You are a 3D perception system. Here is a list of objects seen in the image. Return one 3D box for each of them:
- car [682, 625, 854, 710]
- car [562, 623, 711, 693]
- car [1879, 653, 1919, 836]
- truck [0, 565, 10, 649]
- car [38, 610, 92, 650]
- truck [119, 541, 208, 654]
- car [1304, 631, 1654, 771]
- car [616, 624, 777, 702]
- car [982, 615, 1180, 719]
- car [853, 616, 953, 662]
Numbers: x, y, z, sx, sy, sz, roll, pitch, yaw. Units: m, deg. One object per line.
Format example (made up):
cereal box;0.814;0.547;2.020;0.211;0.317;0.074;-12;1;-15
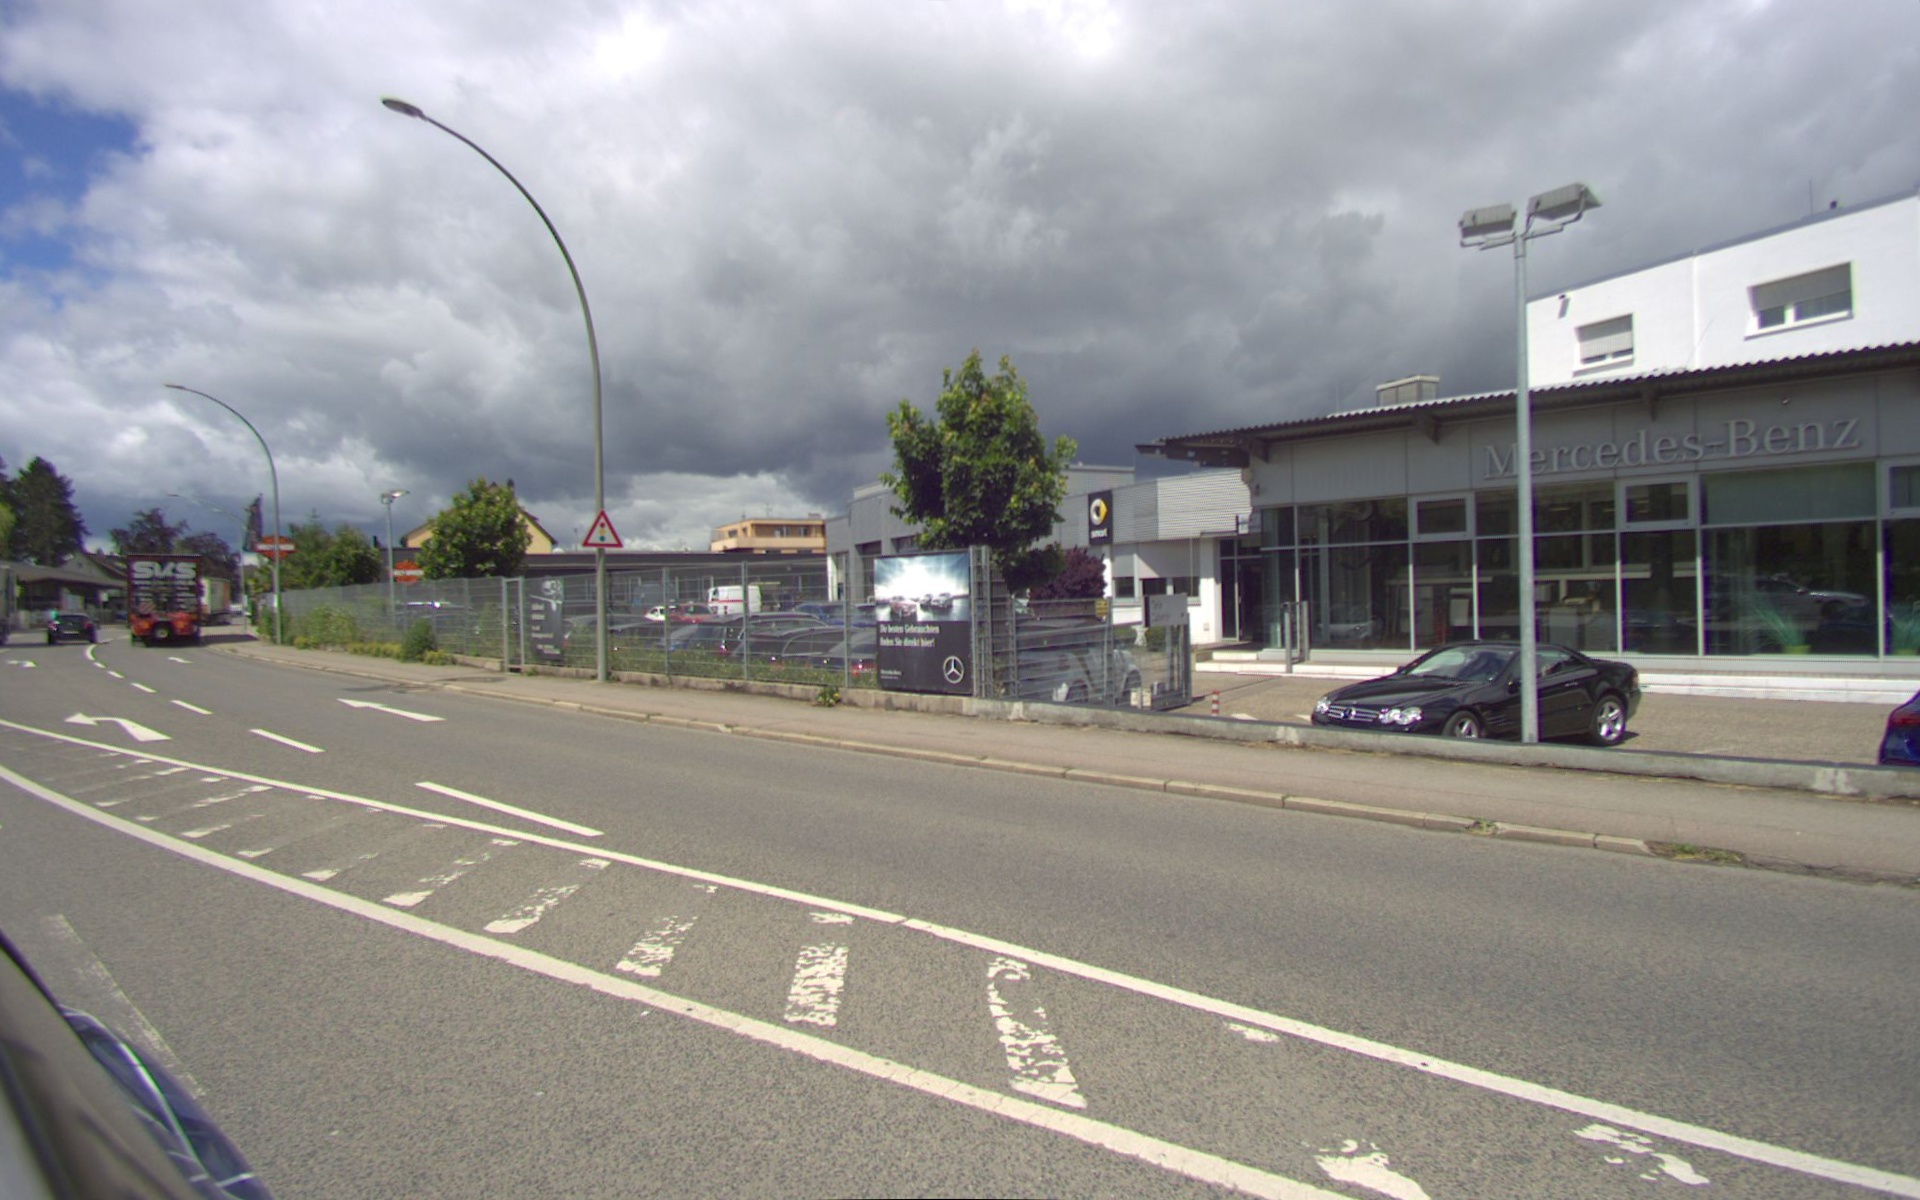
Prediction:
car;-3.977;1.342;21.204;1.582;1.586;3.220;-1;-1;44
car;-8.093;1.395;25.475;1.582;1.586;3.220;-1;-1;44
car;9.769;1.105;8.206;3.887;1.437;1.810;-2;0;-20
truck;-43.936;0.304;44.149;2.860;3.796;9.653;-1;0;-39
car;-41.508;1.378;46.994;1.774;1.746;4.006;3;-2;-41
truck;-36.315;-0.090;46.284;2.935;4.696;8.196;-1;0;-38
car;6.394;1.127;12.456;3.886;1.303;1.810;-2;0;-26
car;-5.962;1.365;23.074;1.582;1.586;3.220;-1;-1;44
car;2.180;1.087;17.587;1.657;1.474;3.615;-2;0;40
car;-1.919;1.280;34.426;3.216;1.462;1.435;0;-1;-41
